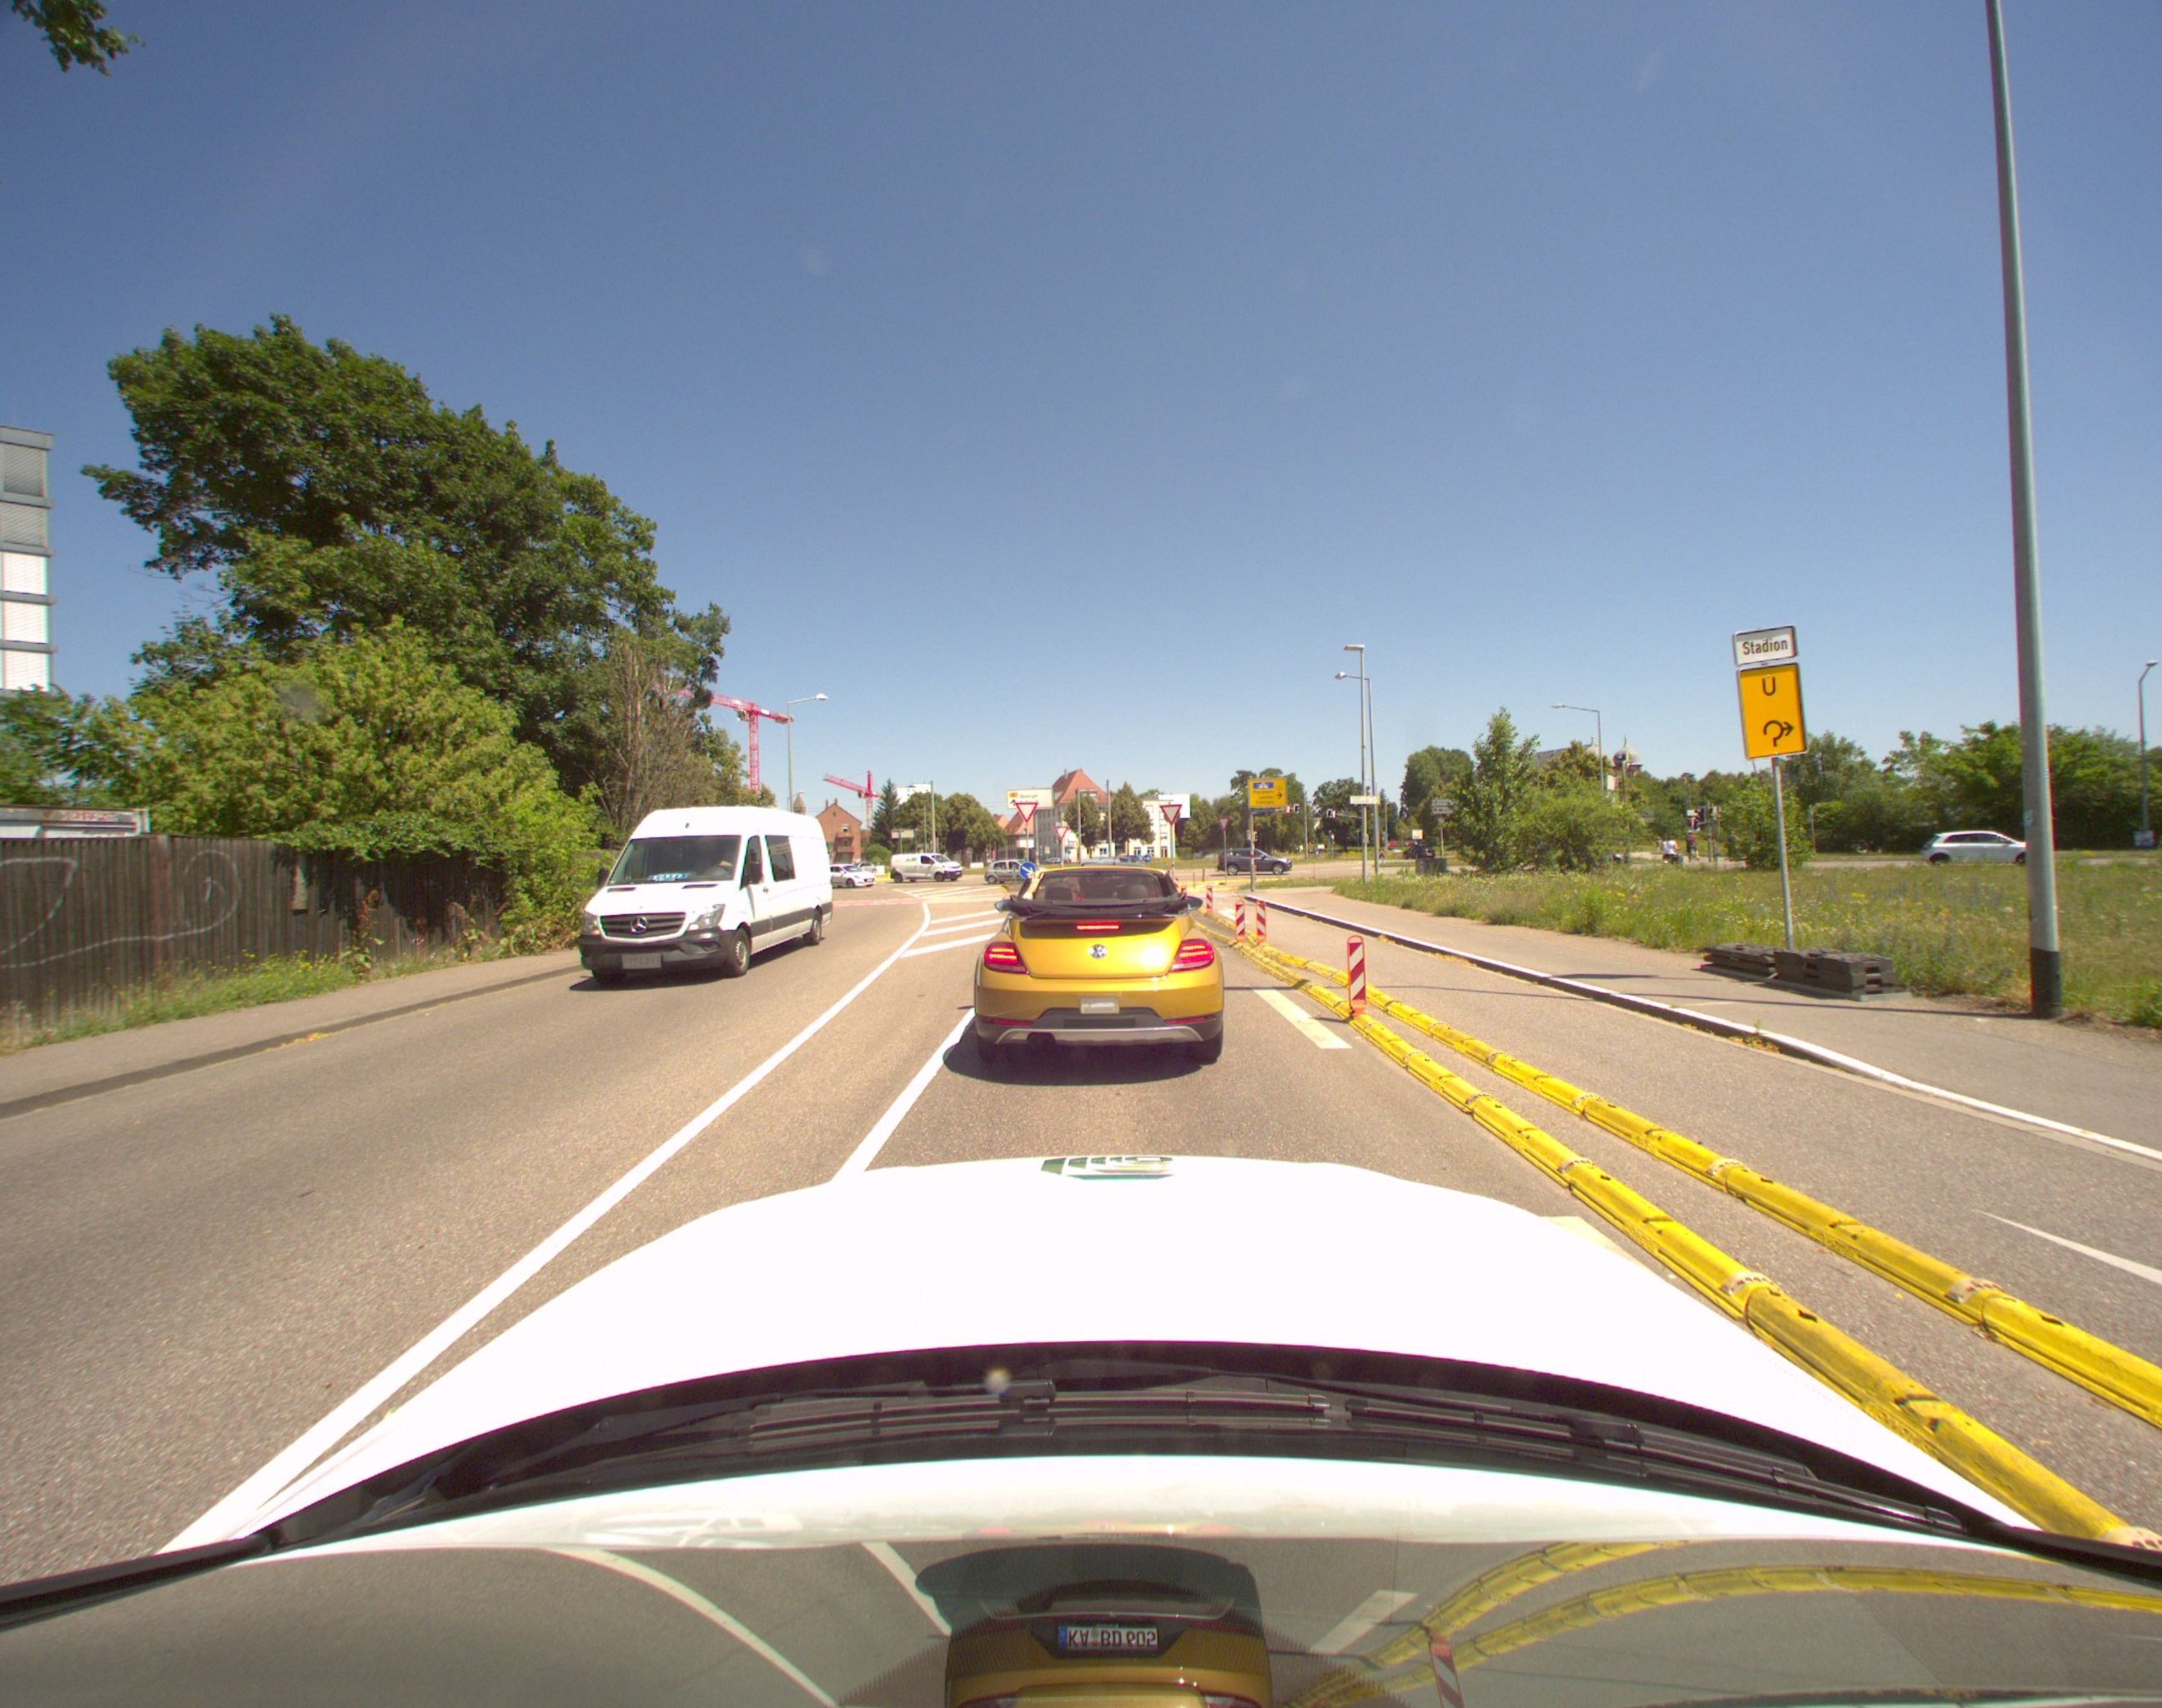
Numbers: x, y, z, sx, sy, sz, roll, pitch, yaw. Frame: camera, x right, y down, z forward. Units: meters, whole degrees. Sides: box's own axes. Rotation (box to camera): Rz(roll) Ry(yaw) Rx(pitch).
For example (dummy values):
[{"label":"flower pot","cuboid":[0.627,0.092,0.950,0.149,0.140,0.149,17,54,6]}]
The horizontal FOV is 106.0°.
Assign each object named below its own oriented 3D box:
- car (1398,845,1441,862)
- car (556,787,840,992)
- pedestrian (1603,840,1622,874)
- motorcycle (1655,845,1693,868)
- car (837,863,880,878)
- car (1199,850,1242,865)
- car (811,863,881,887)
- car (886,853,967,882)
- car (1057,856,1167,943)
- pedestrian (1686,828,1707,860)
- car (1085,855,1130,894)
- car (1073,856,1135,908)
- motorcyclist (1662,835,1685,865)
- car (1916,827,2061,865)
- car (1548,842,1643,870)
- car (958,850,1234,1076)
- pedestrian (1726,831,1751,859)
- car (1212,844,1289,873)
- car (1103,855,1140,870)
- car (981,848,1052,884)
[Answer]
[{"label":"car","cuboid":[36.508,-0.062,87.968,1.948,1.672,4.175,-2,0,-18]},{"label":"car","cuboid":[-5.923,0.473,13.881,2.016,2.539,6.816,-3,0,-5]},{"label":"pedestrian","cuboid":[24.294,0.146,37.241,0.495,1.563,0.514,-1,-1,1]},{"label":"motorcycle","cuboid":[25.941,0.108,35.629,1.712,0.970,0.625,-1,-1,-28]},{"label":"car","cuboid":[-23.253,1.712,85.235,1.690,1.500,4.247,-1,0,34]},{"label":"car","cuboid":[18.495,0.502,108.231,5.114,1.786,2.039,-3,0,28]},{"label":"car","cuboid":[-14.591,1.316,50.589,3.973,1.444,1.642,-1,0,22]},{"label":"car","cuboid":[-10.277,0.921,54.155,4.926,1.850,2.011,-1,-1,24]},{"label":"car","cuboid":[0.583,0.774,15.806,1.841,1.442,4.001,-1,0,2]},{"label":"pedestrian","cuboid":[36.608,-0.569,48.416,0.647,1.870,0.737,-1,-1,3]},{"label":"car","cuboid":[1.079,0.816,33.686,1.730,1.477,4.001,-1,0,2]},{"label":"car","cuboid":[0.712,0.790,24.907,1.730,1.442,4.001,-1,0,2]},{"label":"motorcyclist","cuboid":[25.961,-0.180,35.676,0.616,1.289,0.576,-1,-1,-28]},{"label":"car","cuboid":[38.995,-0.315,35.161,3.949,1.552,1.751,-1,-1,40]},{"label":"car","cuboid":[27.307,0.119,43.324,4.153,1.391,1.913,-1,0,31]},{"label":"car","cuboid":[0.146,0.709,7.123,1.746,1.422,3.778,-1,0,1]},{"label":"pedestrian","cuboid":[37.948,-0.509,46.999,0.789,1.563,0.823,-1,-1,3]},{"label":"car","cuboid":[10.076,0.261,48.661,4.406,1.596,2.005,-1,0,9]},{"label":"car","cuboid":[5.595,1.107,111.176,4.895,1.786,2.028,-3,0,3]},{"label":"car","cuboid":[-3.680,0.686,46.936,3.639,1.850,1.639,-3,-1,15]}]
